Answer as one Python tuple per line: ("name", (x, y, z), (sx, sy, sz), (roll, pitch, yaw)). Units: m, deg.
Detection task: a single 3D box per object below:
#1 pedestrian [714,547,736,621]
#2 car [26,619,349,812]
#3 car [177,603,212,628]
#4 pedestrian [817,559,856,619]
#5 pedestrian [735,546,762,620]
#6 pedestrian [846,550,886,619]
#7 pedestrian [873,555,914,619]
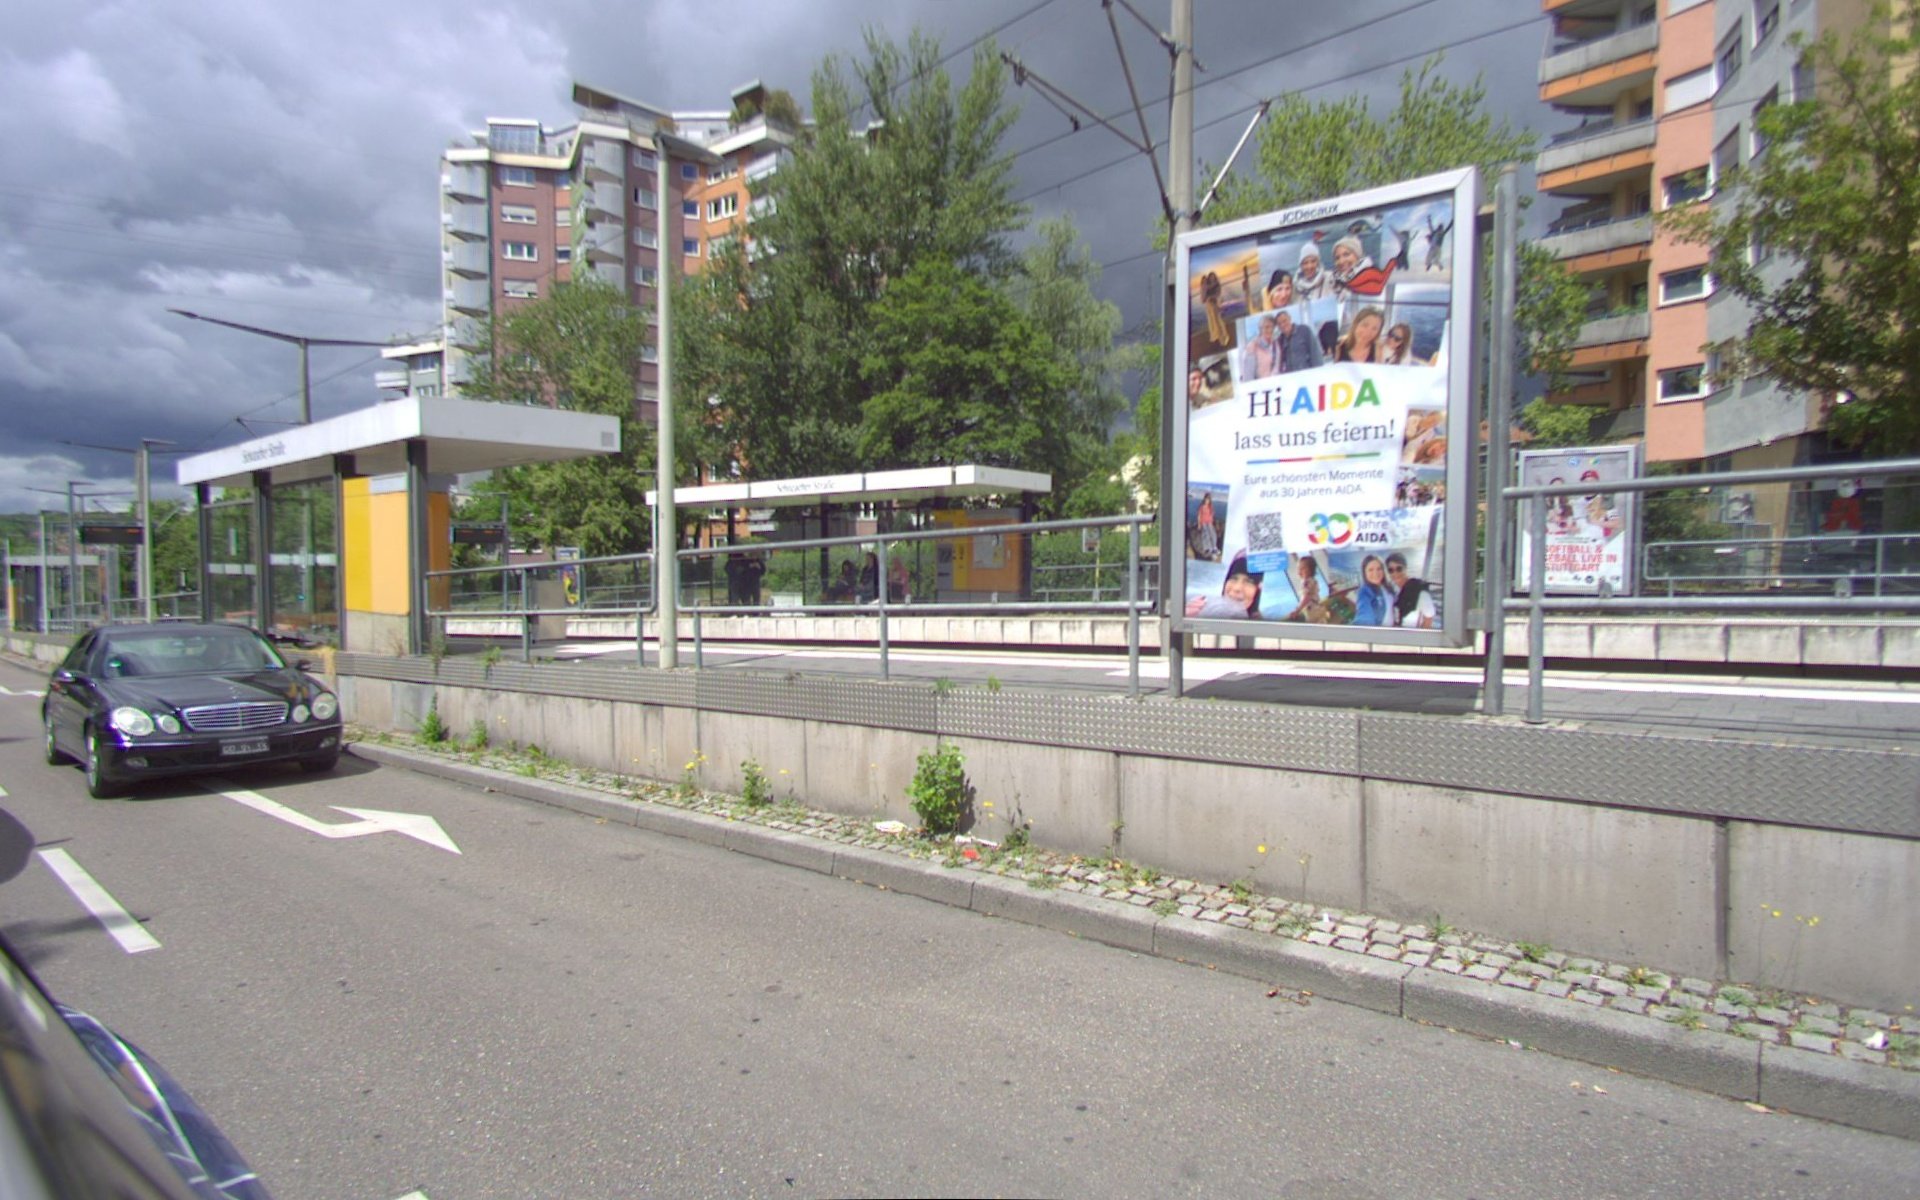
("pedestrian", (-5.492, -0.377, 23.687), (0.421, 1.726, 0.353), (-1, 0, -1))
("car", (-7.484, 0.904, 9.654), (4.065, 1.395, 1.797), (-1, 0, 43))
("car", (-64.670, 1.327, 85.472), (4.000, 2.029, 1.714), (-1, 0, 43))
("pedestrian", (-2.683, -0.232, 22.058), (0.463, 1.287, 0.704), (-1, 0, 40))
("pedestrian", (-4.980, -0.400, 23.873), (0.544, 1.726, 0.386), (-1, 0, -1))
("pedestrian", (-1.973, -0.316, 21.253), (0.463, 1.428, 0.704), (-1, 0, 40))
("pedestrian", (-1.352, -0.256, 20.696), (0.463, 1.287, 0.704), (-1, 0, 40))
